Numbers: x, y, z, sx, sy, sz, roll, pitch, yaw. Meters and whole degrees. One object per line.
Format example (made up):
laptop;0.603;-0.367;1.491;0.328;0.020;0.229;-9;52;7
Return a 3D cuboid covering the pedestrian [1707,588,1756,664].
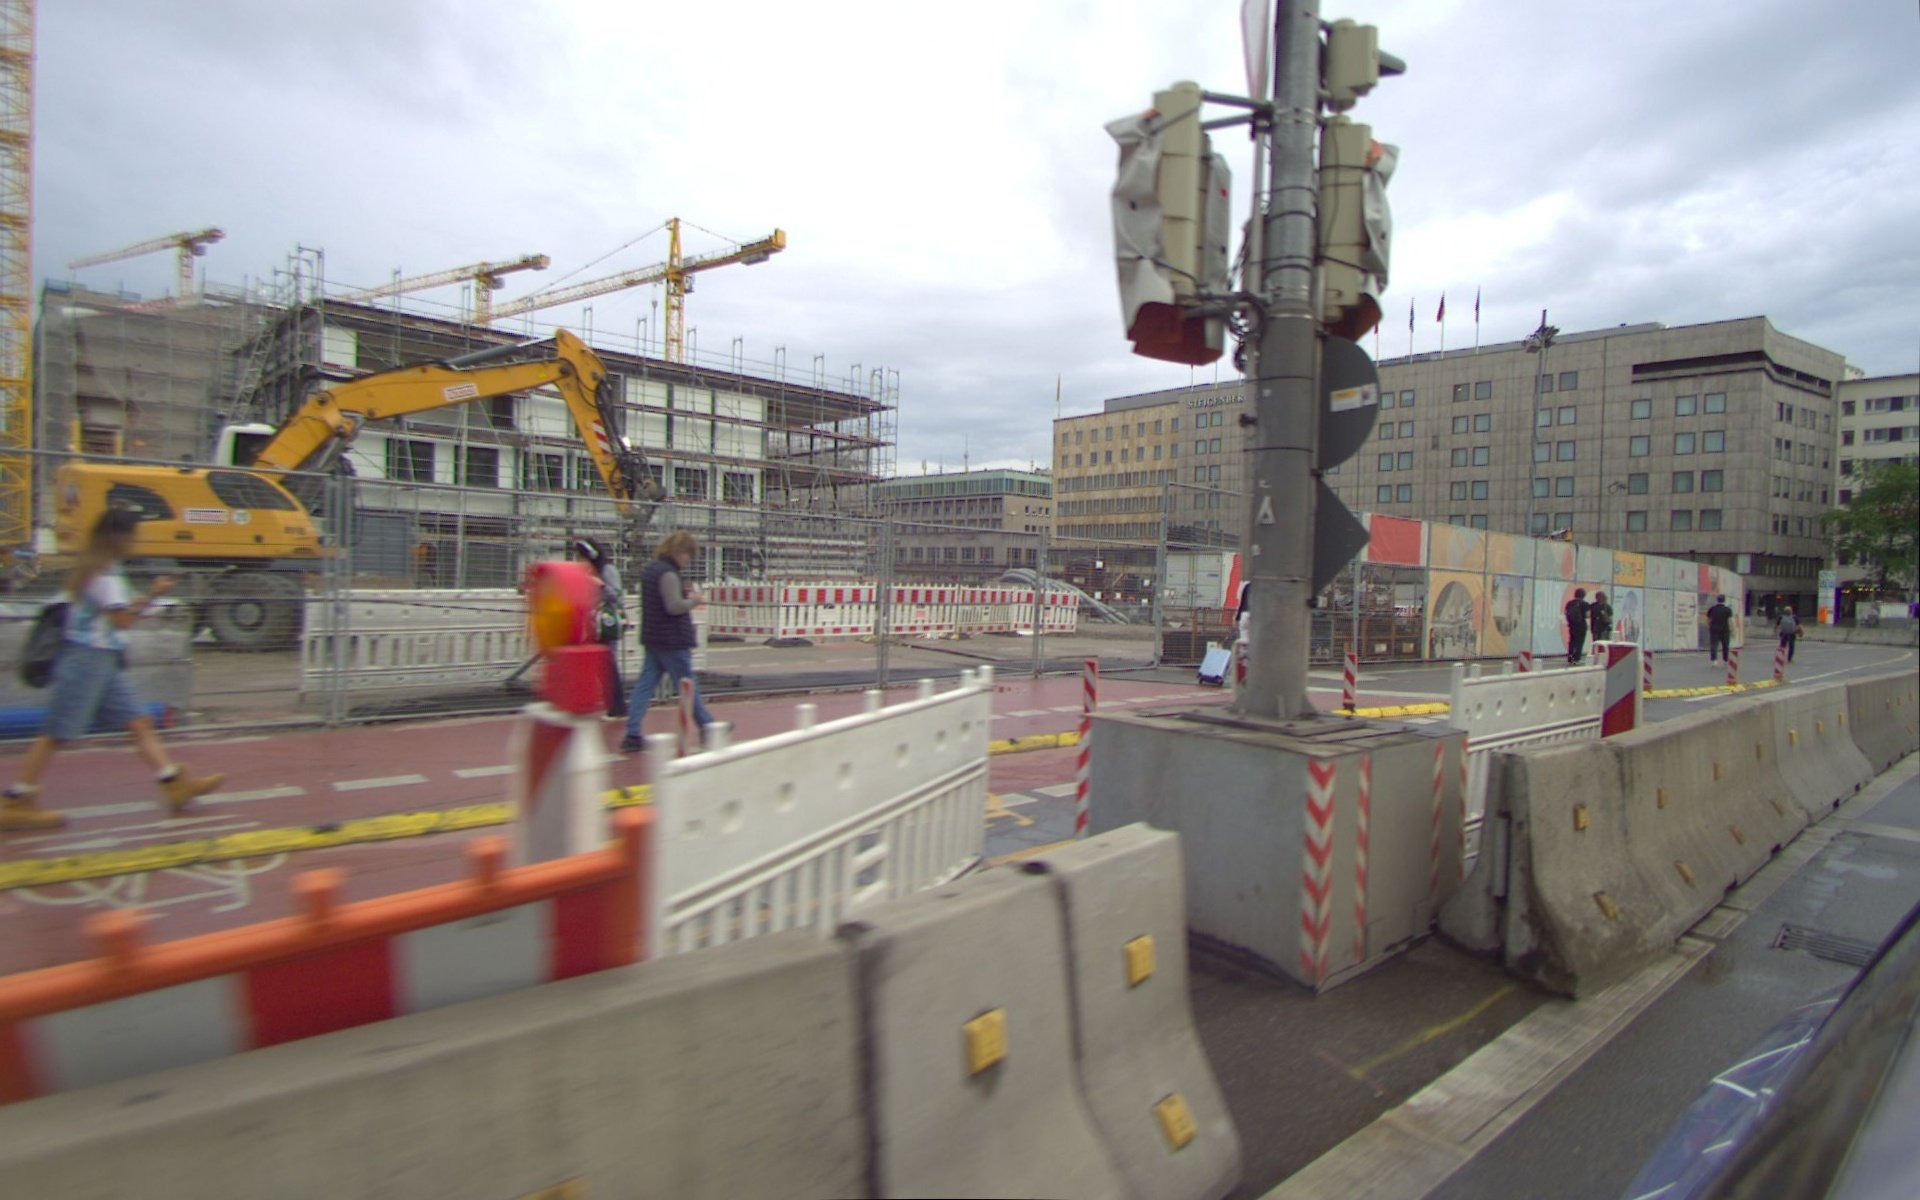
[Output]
pedestrian;19.772;0.659;25.950;0.805;1.901;0.798;1;1;-39

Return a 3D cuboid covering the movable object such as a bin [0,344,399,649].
movable object such as a bin;-10.543;-1.248;14.398;4.266;3.535;3.948;2;1;-28

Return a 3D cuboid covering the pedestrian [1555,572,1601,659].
pedestrian;14.810;0.369;24.259;0.674;2.039;0.680;3;0;-40

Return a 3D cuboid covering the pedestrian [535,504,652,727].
pedestrian;-3.282;0.122;9.056;0.787;1.885;0.672;2;0;45

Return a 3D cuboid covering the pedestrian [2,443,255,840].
pedestrian;-4.439;0.192;5.410;0.779;1.885;0.934;2;0;45

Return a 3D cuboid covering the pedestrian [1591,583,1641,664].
pedestrian;15.385;0.533;23.751;0.615;1.857;0.798;1;1;-39

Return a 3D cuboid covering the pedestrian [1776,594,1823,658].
pedestrian;25.008;0.768;30.140;0.674;1.857;0.927;1;1;-39

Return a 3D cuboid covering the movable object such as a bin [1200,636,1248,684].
movable object such as a bin;3.767;0.847;14.440;0.433;0.632;0.526;2;0;45

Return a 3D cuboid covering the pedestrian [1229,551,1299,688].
pedestrian;4.323;0.263;14.394;0.665;1.885;0.672;2;0;45

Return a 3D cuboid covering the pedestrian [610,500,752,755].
pedestrian;-2.198;0.198;7.986;0.690;1.885;0.798;2;0;45
